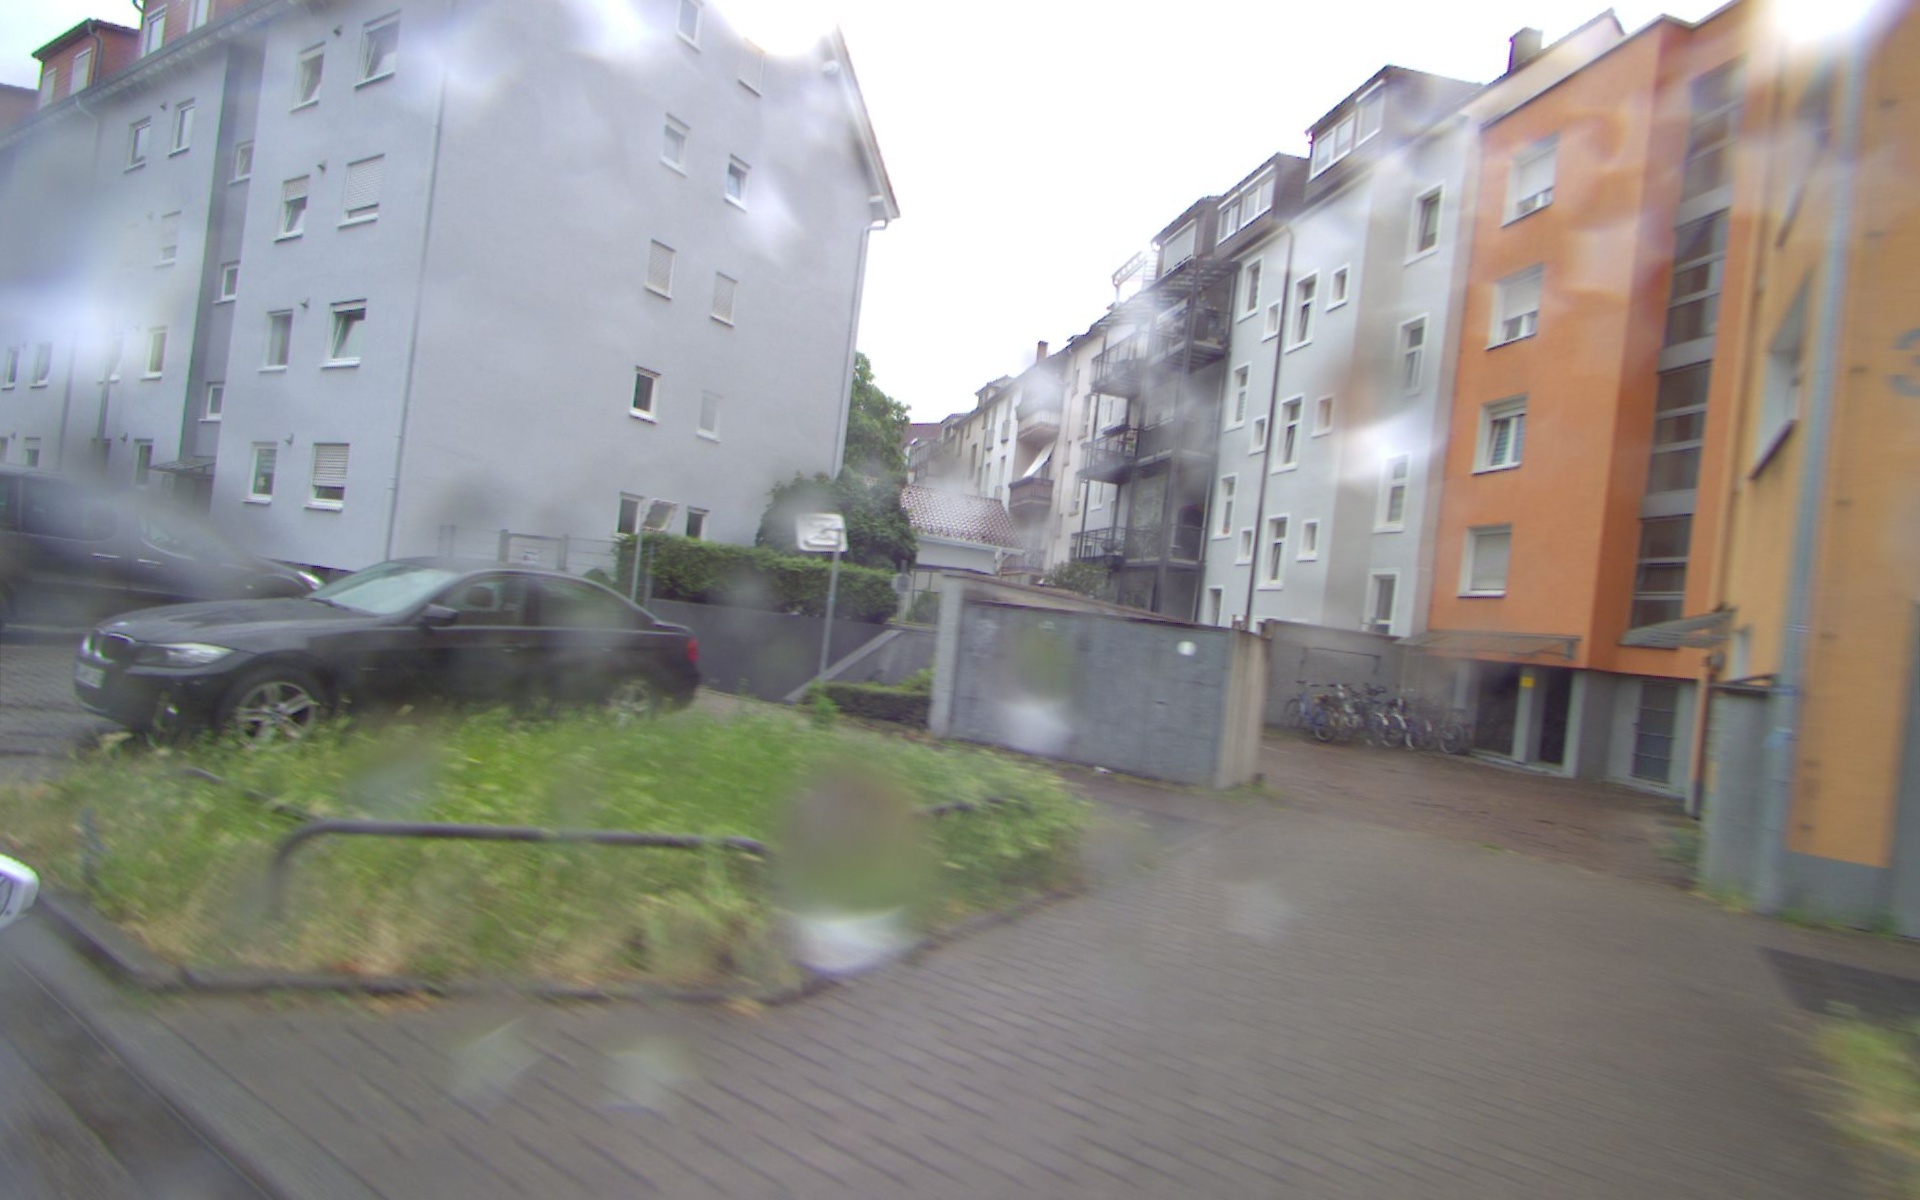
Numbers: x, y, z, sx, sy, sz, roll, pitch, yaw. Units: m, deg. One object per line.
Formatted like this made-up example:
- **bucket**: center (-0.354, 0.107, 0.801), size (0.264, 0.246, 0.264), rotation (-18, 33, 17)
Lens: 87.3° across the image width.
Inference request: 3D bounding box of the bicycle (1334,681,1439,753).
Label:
- **bicycle**: center (9.366, 2.541, 22.205), size (0.637, 1.238, 2.300), rotation (7, -1, -19)

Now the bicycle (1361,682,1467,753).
- **bicycle**: center (10.043, 2.573, 22.367), size (0.637, 1.238, 2.300), rotation (7, -1, -19)

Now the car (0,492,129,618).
- **car**: center (-14.195, -0.823, 13.518), size (1.859, 1.589, 4.190), rotation (6, -3, 31)

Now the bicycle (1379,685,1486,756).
- **bicycle**: center (10.554, 2.674, 22.593), size (0.637, 1.238, 2.300), rotation (7, -1, -19)

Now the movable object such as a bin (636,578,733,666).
- **movable object such as a bin**: center (-4.952, 0.401, 18.102), size (0.940, 1.394, 1.215), rotation (7, -1, 40)

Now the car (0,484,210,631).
- **car**: center (-12.003, -0.637, 12.188), size (1.857, 1.586, 4.197), rotation (6, -2, 31)

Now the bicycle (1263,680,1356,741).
- **bicycle**: center (7.517, 2.362, 21.759), size (0.637, 1.018, 2.103), rotation (7, -1, -19)

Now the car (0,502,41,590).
- **car**: center (-18.059, -1.177, 16.580), size (1.806, 1.471, 3.862), rotation (7, -2, 31)

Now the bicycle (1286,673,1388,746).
- **bicycle**: center (8.158, 2.351, 21.916), size (0.637, 1.238, 2.300), rotation (7, -1, -19)

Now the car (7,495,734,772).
- **car**: center (-4.212, 0.322, 8.039), size (1.951, 1.487, 4.539), rotation (6, -1, 32)

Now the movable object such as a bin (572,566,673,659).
- **movable object such as a bin**: center (-5.704, 0.223, 17.027), size (0.810, 1.394, 1.234), rotation (7, -1, 40)

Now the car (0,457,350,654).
- **car**: center (-9.612, -0.472, 11.276), size (1.912, 1.827, 4.240), rotation (6, -1, 29)

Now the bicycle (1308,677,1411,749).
- **bicycle**: center (8.745, 2.445, 22.125), size (0.637, 1.238, 2.300), rotation (7, -1, -19)
